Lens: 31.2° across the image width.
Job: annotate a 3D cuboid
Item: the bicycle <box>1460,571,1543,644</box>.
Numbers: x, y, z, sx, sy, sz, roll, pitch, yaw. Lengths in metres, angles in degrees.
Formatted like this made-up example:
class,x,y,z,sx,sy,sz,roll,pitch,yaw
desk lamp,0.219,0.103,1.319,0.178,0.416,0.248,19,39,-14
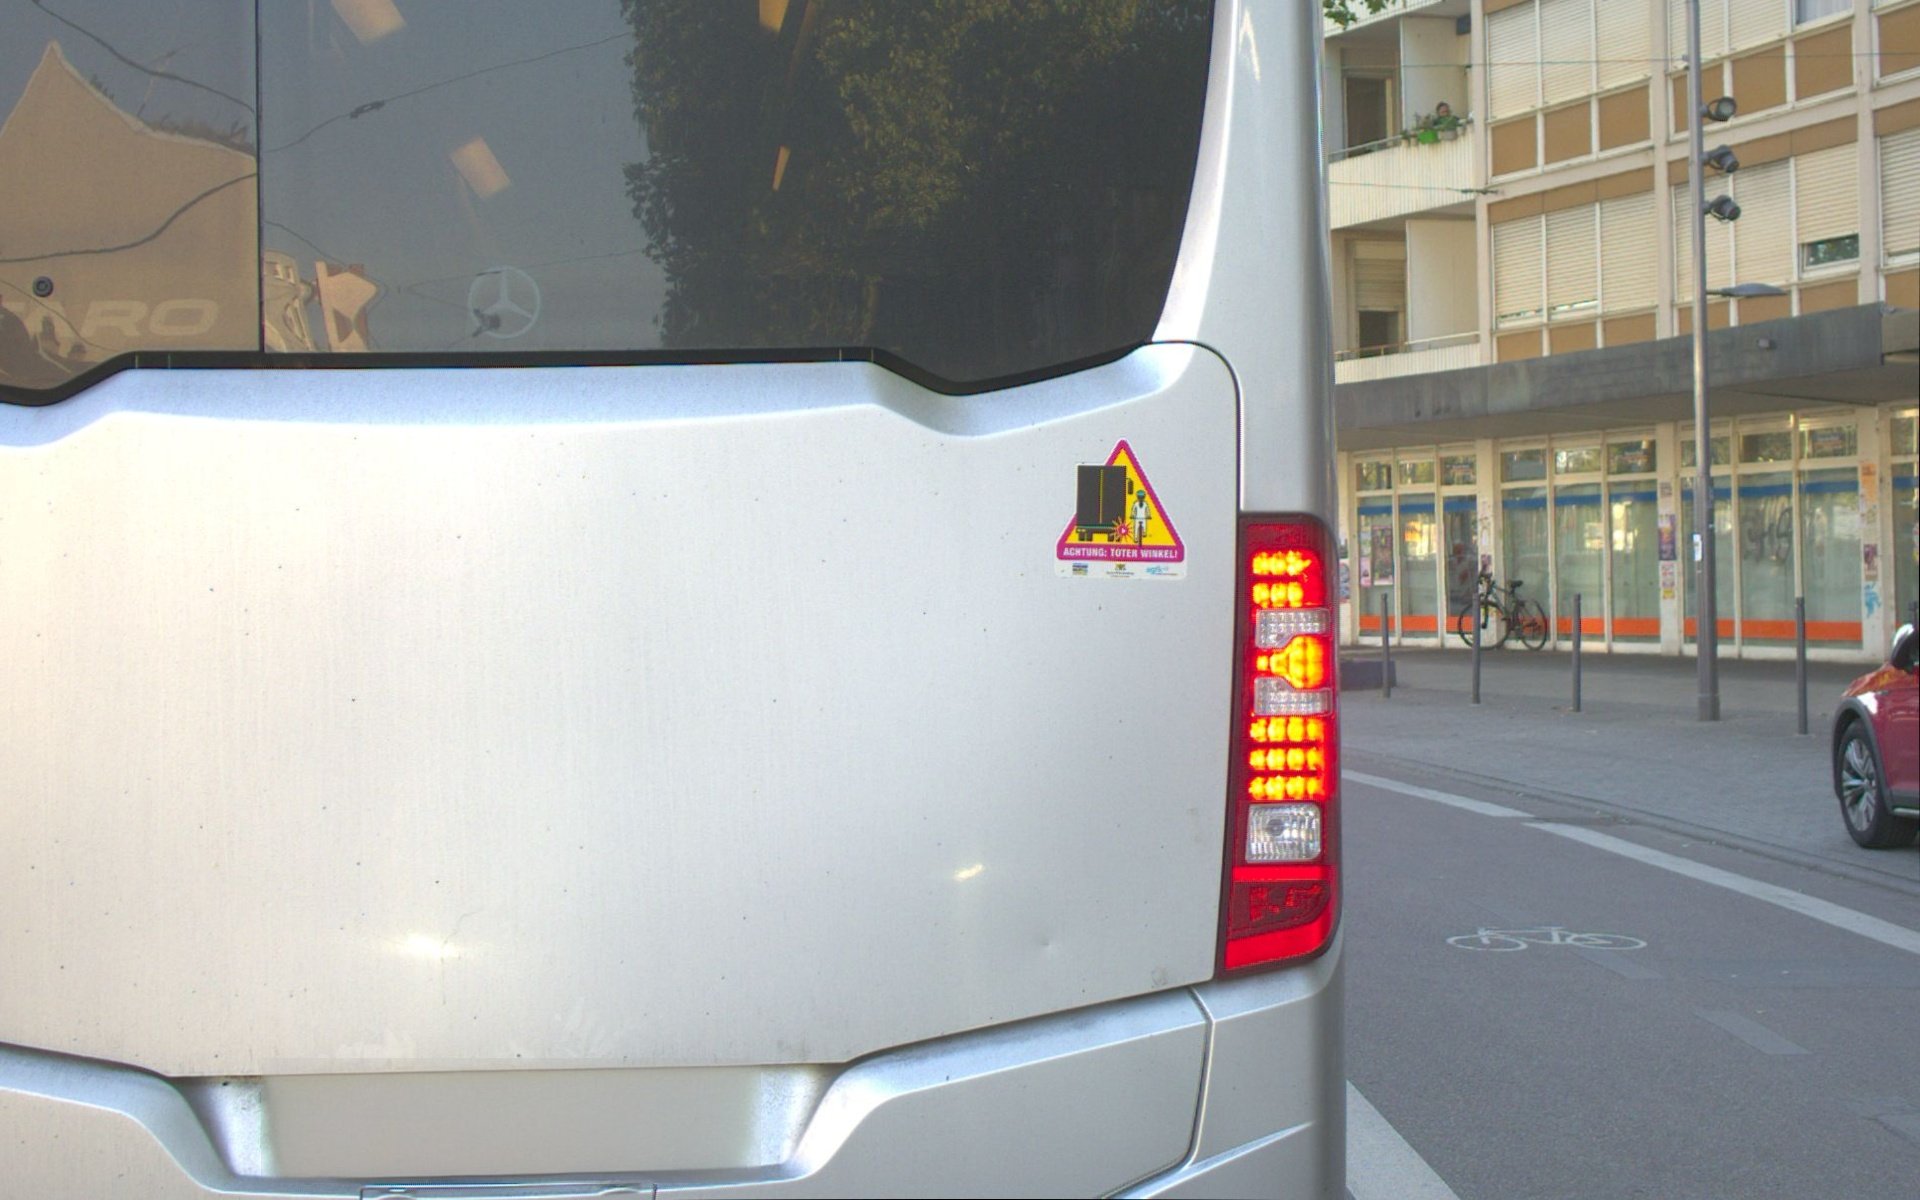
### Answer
class,x,y,z,sx,sy,sz,roll,pitch,yaw
bicycle,7.173,0.092,45.566,0.412,0.941,1.441,-1,1,-20

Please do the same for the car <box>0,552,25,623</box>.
class,x,y,z,sx,sy,sz,roll,pitch,yaw
car,-25.844,-0.339,88.261,1.994,1.785,3.998,1,0,-41

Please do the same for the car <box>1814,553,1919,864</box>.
class,x,y,z,sx,sy,sz,roll,pitch,yaw
car,5.524,0.504,15.855,1.769,1.477,4.304,-2,1,-4

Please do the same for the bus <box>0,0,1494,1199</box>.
class,x,y,z,sx,sy,sz,roll,pitch,yaw
bus,-0.770,-0.145,9.794,2.630,3.017,9.998,0,1,-2
